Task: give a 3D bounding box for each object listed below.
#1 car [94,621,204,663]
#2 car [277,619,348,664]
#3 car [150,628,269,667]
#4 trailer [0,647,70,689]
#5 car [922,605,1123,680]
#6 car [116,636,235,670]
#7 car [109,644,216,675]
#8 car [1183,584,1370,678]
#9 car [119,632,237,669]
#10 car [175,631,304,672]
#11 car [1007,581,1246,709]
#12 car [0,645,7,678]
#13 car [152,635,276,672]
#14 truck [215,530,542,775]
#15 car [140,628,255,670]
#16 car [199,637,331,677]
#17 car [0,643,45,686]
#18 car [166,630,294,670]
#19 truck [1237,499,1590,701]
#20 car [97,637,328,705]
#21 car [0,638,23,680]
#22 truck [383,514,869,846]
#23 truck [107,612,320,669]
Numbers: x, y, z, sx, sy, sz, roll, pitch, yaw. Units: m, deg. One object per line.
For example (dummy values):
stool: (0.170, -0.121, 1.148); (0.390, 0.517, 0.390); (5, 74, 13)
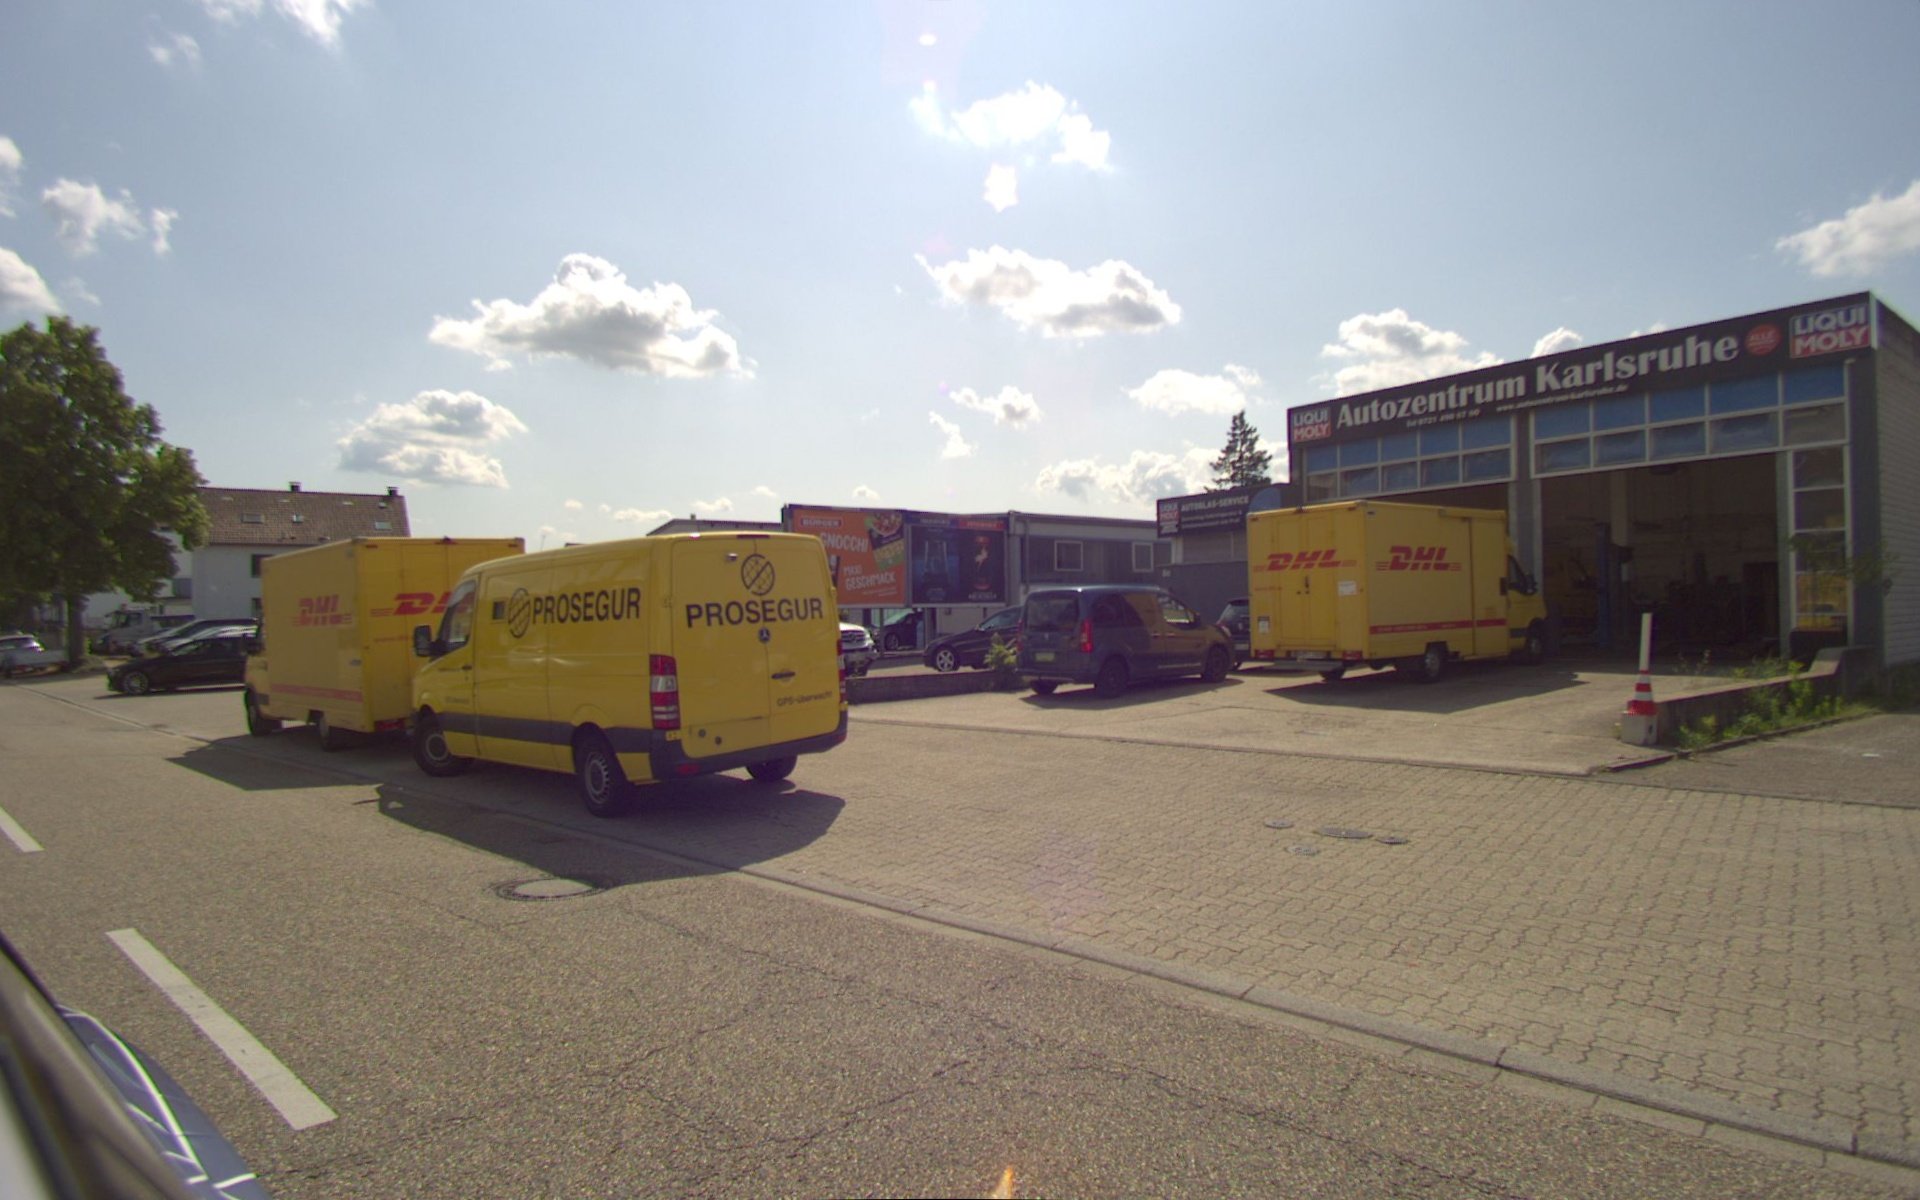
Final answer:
car: (-47.860, 2.445, 59.882); (4.934, 2.248, 2.005); (-1, 0, -36)
car: (-30.807, 1.970, 48.127); (3.995, 2.029, 1.694); (-2, -2, 39)
car: (-33.941, 2.121, 45.856); (1.827, 1.631, 4.098); (-1, -1, 44)
trailer: (-34.172, 2.437, 37.104); (4.506, 1.299, 1.743); (-2, 2, 42)
car: (1.338, 0.937, 22.020); (3.990, 1.298, 1.659); (-6, -3, 29)
car: (-39.199, 2.625, 50.636); (1.827, 1.594, 4.475); (-3, -3, 43)
car: (-40.955, 3.040, 52.033); (1.678, 1.470, 4.150); (-3, -3, 43)
car: (6.441, 0.592, 20.462); (3.793, 1.744, 1.736); (0, -2, -38)
car: (-37.829, 2.421, 49.048); (1.826, 1.627, 4.251); (-3, -2, 40)
car: (-28.939, 2.038, 40.728); (1.827, 1.501, 3.981); (-1, -1, 44)
car: (2.913, 0.686, 17.316); (3.879, 1.823, 1.859); (-3, 0, -39)
car: (-45.744, 2.907, 47.122); (4.158, 1.495, 1.681); (-3, -1, 43)
car: (-32.276, 2.265, 43.851); (1.827, 1.441, 4.098); (-1, -1, 44)
truck: (-8.945, 0.690, 15.112); (7.069, 2.878, 2.196); (-2, 0, 43)
car: (-35.600, 2.230, 47.318); (1.827, 1.802, 4.098); (-1, -1, 44)
car: (-26.957, 2.170, 39.323); (3.979, 1.385, 1.828); (0, -1, -44)
car: (-37.770, 2.533, 40.155); (4.237, 1.539, 1.813); (-3, 0, 43)
car: (-30.439, 2.035, 42.287); (1.827, 1.501, 4.098); (-1, -1, 44)
truck: (7.930, -0.081, 17.353); (6.511, 2.871, 2.534); (-3, 0, -36)
car: (-19.772, 1.843, 27.018); (4.516, 1.405, 2.006); (-2, 0, -15)
car: (-41.658, 2.554, 43.384); (4.397, 1.713, 1.676); (-3, 1, 41)
truck: (-3.706, 0.673, 10.233); (6.064, 2.432, 1.972); (-2, -2, 43)
truck: (-40.888, 2.147, 55.760); (9.151, 2.878, 2.722); (1, -3, -45)
